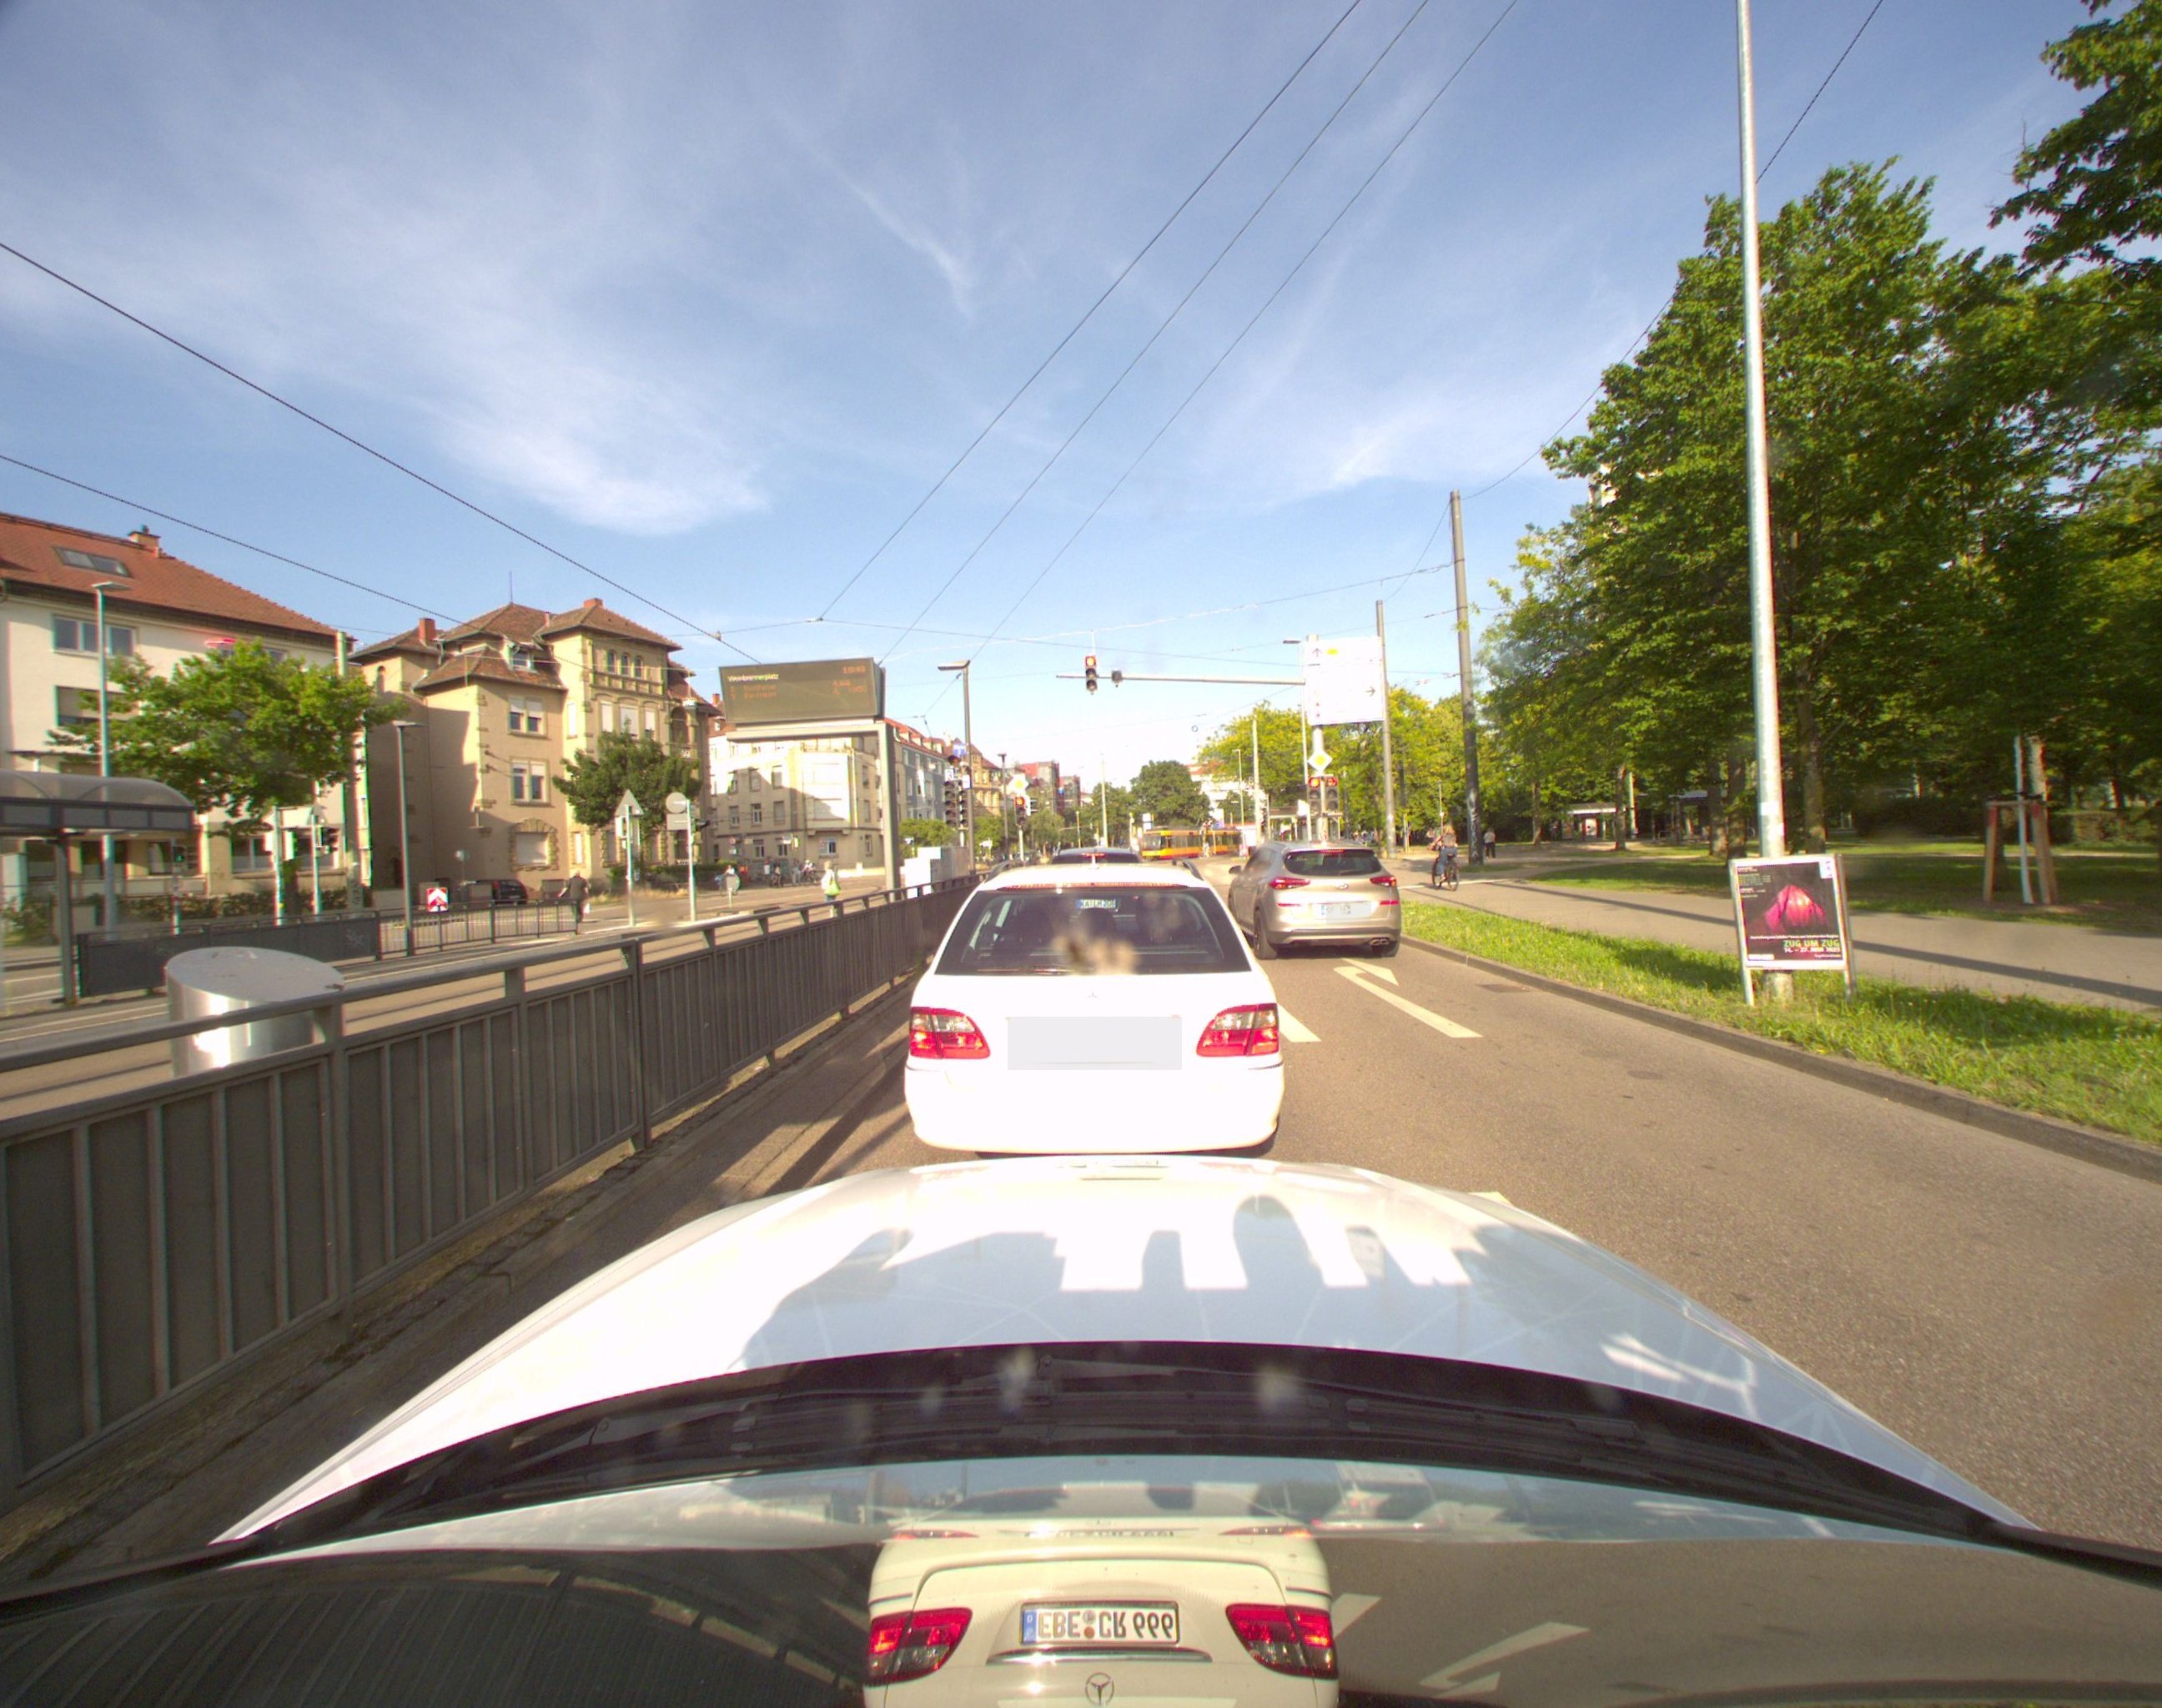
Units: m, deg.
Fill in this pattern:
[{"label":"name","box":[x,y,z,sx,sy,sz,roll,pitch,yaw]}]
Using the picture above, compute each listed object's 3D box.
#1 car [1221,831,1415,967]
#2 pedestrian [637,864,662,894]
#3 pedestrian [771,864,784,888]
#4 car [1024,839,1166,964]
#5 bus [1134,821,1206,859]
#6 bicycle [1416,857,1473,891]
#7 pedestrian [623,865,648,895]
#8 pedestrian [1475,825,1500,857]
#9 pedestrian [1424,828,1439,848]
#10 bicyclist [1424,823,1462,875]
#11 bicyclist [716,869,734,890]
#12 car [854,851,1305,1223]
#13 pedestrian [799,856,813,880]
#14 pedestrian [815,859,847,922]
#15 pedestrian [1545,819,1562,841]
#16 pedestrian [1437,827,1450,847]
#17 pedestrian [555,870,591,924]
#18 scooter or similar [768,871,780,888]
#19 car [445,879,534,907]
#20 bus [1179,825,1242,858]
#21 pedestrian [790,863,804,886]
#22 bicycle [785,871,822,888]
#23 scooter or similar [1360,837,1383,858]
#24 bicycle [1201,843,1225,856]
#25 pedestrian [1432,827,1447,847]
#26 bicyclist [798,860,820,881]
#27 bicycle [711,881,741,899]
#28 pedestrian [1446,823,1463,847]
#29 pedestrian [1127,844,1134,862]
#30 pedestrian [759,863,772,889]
[{"label":"car","box":[3.338,0.568,12.222,1.878,1.651,3.649,-3,0,2]},{"label":"pedestrian","box":[-23.341,1.370,44.048,0.822,1.552,0.786,-3,0,23]},{"label":"pedestrian","box":[-19.355,1.380,51.940,0.434,1.500,0.551,-3,0,16]},{"label":"car","box":[0.254,0.623,12.662,1.878,1.651,3.649,0,0,2]},{"label":"bus","box":[9.399,-1.362,83.929,3.079,3.606,12.449,-1,-1,28]},{"label":"bicycle","box":[9.196,0.484,20.670,0.493,0.757,2.169,-4,0,2]},{"label":"pedestrian","box":[-24.347,1.414,44.488,0.822,1.552,0.786,-3,0,23]},{"label":"pedestrian","box":[21.038,-0.671,42.147,0.758,1.636,0.800,-3,0,-38]},{"label":"pedestrian","box":[27.256,-1.235,63.295,0.820,1.487,0.692,-3,0,-40]},{"label":"bicyclist","box":[9.164,-0.132,20.642,0.532,1.262,0.869,-3,0,2]},{"label":"bicyclist","box":[-18.417,1.333,42.183,0.509,1.044,0.681,-3,0,9]},{"label":"car","box":[0.045,0.736,5.111,1.789,1.470,3.649,-1,0,2]},{"label":"pedestrian","box":[-24.347,1.239,72.067,0.768,2.013,0.790,-3,0,17]},{"label":"pedestrian","box":[-6.643,0.961,21.680,0.611,1.599,0.632,-3,0,-5]},{"label":"pedestrian","box":[35.967,-1.837,61.977,0.831,1.636,0.804,-3,0,8]},{"label":"pedestrian","box":[27.769,-1.297,62.378,0.805,1.487,0.705,-3,0,26]},{"label":"pedestrian","box":[-15.990,1.341,25.631,0.798,1.645,0.748,-3,0,-42]},{"label":"scooter or similar","box":[-19.881,1.666,52.753,0.541,1.079,0.683,-1,-1,1]},{"label":"car","box":[-29.452,1.910,40.563,4.066,1.310,1.774,-1,-1,24]},{"label":"bus","box":[15.317,-1.336,95.066,3.079,3.606,12.668,-1,-1,29]},{"label":"pedestrian","box":[-19.695,1.441,56.527,0.626,1.541,0.711,-3,0,1]},{"label":"bicycle","box":[-17.254,1.580,50.661,0.779,0.914,3.006,-3,0,10]},{"label":"scooter or similar","box":[16.177,-0.359,45.379,0.421,1.117,1.322,-3,0,-18]},{"label":"bicycle","box":[13.772,-0.428,85.017,2.467,1.213,0.809,-3,0,9]},{"label":"pedestrian","box":[28.104,-1.317,63.883,0.813,1.487,0.698,-3,0,-9]},{"label":"bicyclist","box":[-17.136,1.050,51.295,0.758,1.262,1.178,-3,0,12]},{"label":"bicycle","box":[-18.389,1.873,42.204,0.523,0.834,1.691,-3,0,10]},{"label":"pedestrian","box":[29.120,-1.471,63.504,0.797,1.785,0.838,-3,0,-2]},{"label":"pedestrian","box":[5.275,-0.125,87.058,0.638,1.857,0.554,-3,0,13]},{"label":"pedestrian","box":[-20.170,1.380,52.085,0.506,1.626,0.609,-3,0,3]}]
